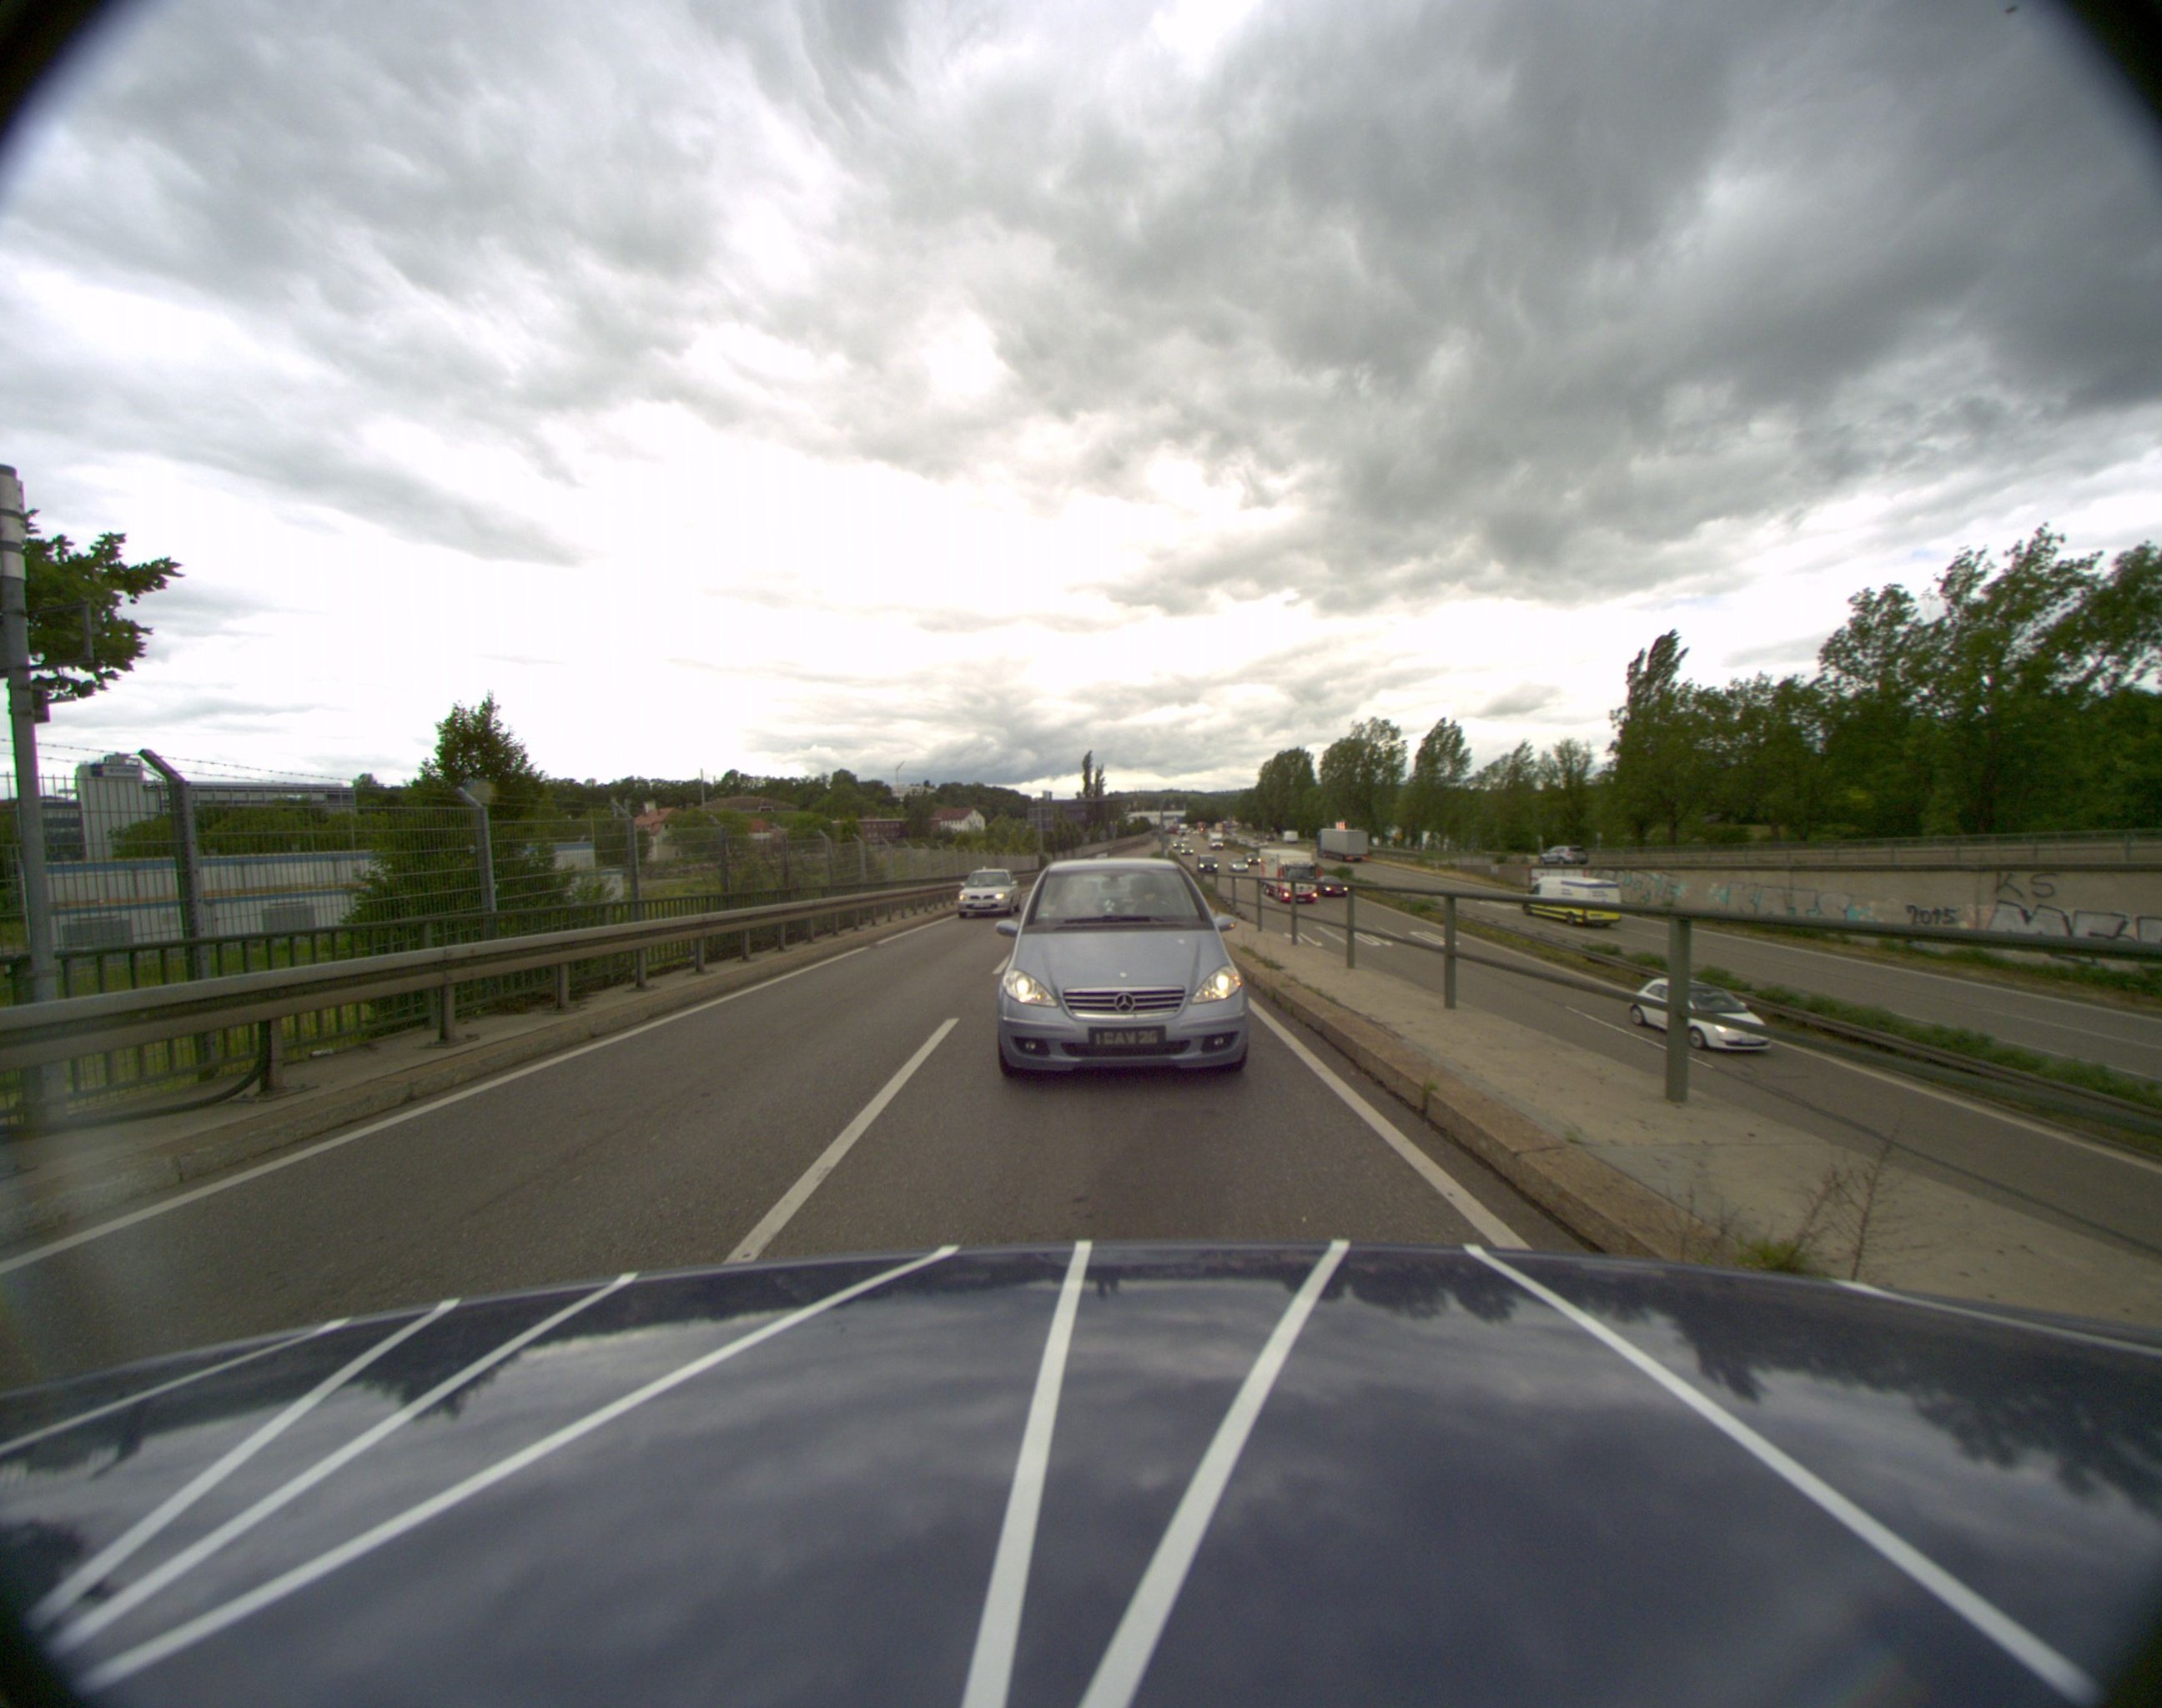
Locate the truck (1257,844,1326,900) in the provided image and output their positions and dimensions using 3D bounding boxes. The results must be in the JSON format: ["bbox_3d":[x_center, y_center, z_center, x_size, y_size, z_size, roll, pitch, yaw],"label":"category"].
[{"bbox_3d":[15.863,1.197,58.117,2.889,3.506,9.869,1,3,3],"label":"truck"}]

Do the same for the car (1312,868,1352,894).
[{"bbox_3d":[19.469,2.075,59.141,1.834,1.570,4.180,-2,4,2],"label":"car"}]

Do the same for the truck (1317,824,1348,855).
[{"bbox_3d":[35.732,-2.081,108.225,2.793,4.117,5.934,-1,3,4],"label":"truck"}]

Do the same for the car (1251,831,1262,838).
[{"bbox_3d":[47.718,-5.380,206.854,1.886,1.807,4.560,2,3,2],"label":"car"}]

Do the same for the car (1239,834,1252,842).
[{"bbox_3d":[33.204,-3.264,153.688,1.998,1.412,3.999,2,3,4],"label":"car"}]

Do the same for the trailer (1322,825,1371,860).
[{"bbox_3d":[35.227,-1.678,101.529,2.793,4.117,13.759,-1,3,4],"label":"trailer"}]

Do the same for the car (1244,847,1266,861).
[{"bbox_3d":[21.947,0.031,96.003,1.863,1.457,4.423,-2,3,2],"label":"car"}]

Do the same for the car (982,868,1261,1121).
[{"bbox_3d":[0.286,0.924,6.786,1.743,1.534,3.993,-1,0,1],"label":"car"}]

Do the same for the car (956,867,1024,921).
[{"bbox_3d":[-2.756,1.174,23.613,1.589,1.423,3.442,-2,1,1],"label":"car"}]

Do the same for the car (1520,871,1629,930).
[{"bbox_3d":[28.197,2.556,43.777,1.998,2.614,6.711,1,3,2],"label":"car"}]

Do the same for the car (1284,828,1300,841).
[{"bbox_3d":[46.280,-4.231,166.714,1.998,2.635,5.179,2,3,2],"label":"car"}]

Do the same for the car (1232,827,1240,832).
[{"bbox_3d":[49.688,-7.796,243.749,1.998,1.412,3.999,-1,3,4],"label":"car"}]

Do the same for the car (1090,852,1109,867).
[{"bbox_3d":[2.226,0.628,90.168,1.799,1.643,4.153,-2,-1,8],"label":"car"}]

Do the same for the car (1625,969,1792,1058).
[{"bbox_3d":[17.219,4.325,21.094,1.696,1.524,3.607,-1,3,2],"label":"car"}]

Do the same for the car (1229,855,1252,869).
[{"bbox_3d":[17.699,0.818,84.467,1.789,1.294,4.151,0,3,2],"label":"car"}]

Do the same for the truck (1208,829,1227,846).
[{"bbox_3d":[24.734,-3.059,138.278,2.239,2.993,7.228,-1,3,1],"label":"truck"}]

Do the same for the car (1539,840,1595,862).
[{"bbox_3d":[39.882,-0.252,62.426,1.897,1.642,4.378,-3,0,3],"label":"car"}]

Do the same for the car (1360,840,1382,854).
[{"bbox_3d":[46.127,-1.137,120.982,1.998,1.890,4.583,2,3,5],"label":"car"}]

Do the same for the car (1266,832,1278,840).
[{"bbox_3d":[46.971,-4.466,186.617,1.886,1.807,4.560,2,3,2],"label":"car"}]

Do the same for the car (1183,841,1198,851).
[{"bbox_3d":[17.295,-1.239,120.515,1.828,1.443,4.125,0,3,1],"label":"car"}]

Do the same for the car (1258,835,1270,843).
[{"bbox_3d":[35.982,-3.004,149.358,1.682,1.412,3.999,0,3,4],"label":"car"}]

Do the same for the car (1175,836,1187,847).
[{"bbox_3d":[18.951,-2.399,144.461,1.998,2.003,3.999,1,3,3],"label":"car"}]

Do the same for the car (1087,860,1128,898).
[{"bbox_3d":[1.279,1.198,37.802,1.830,1.701,4.001,-2,-1,1],"label":"car"}]

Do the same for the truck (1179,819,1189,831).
[{"bbox_3d":[34.668,-9.706,256.315,3.009,4.087,5.873,0,3,6],"label":"truck"}]

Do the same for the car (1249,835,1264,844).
[{"bbox_3d":[30.919,-2.504,134.151,1.998,1.412,3.999,2,3,4],"label":"car"}]

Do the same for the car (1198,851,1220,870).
[{"bbox_3d":[13.942,0.716,82.931,1.997,1.830,4.424,0,3,6],"label":"car"}]

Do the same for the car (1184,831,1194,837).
[{"bbox_3d":[26.224,-4.860,184.631,1.769,1.520,3.334,0,3,1],"label":"car"}]
